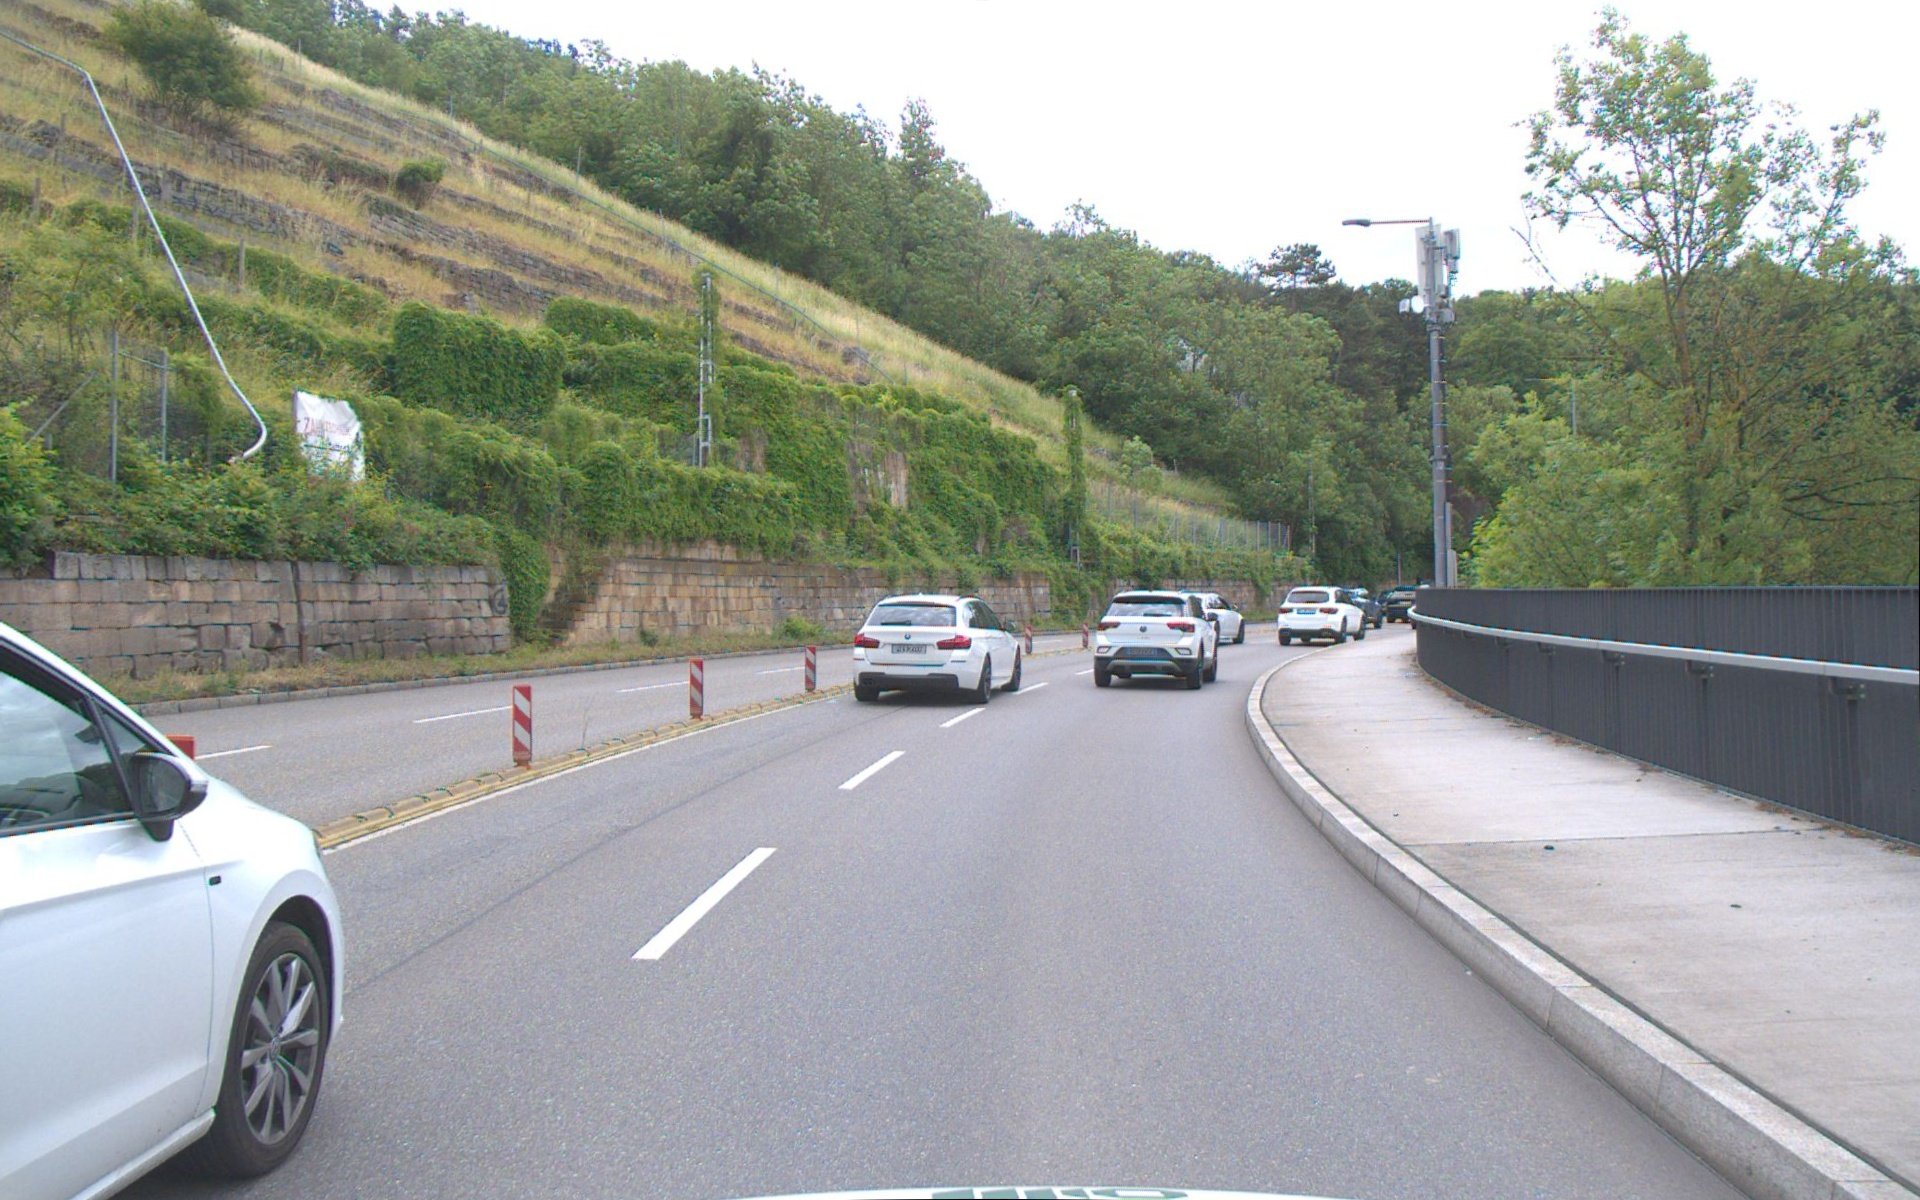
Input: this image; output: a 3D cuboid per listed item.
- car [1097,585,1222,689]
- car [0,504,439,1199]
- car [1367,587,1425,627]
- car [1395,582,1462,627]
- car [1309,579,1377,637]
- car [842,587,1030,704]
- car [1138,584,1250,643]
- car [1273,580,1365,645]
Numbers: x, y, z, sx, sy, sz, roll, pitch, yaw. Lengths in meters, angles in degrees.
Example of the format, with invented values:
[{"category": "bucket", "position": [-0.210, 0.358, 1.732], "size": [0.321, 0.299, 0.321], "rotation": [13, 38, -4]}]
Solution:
[{"category": "car", "position": [3.461, 0.567, 28.125], "size": [1.789, 1.634, 4.004], "rotation": [0, 0, 12]}, {"category": "car", "position": [-2.484, 0.635, 2.889], "size": [1.784, 1.608, 4.355], "rotation": [1, 0, -1]}, {"category": "car", "position": [19.628, 0.296, 74.378], "size": [1.953, 1.747, 3.999], "rotation": [0, 0, 23]}, {"category": "car", "position": [18.669, 0.180, 65.779], "size": [1.954, 1.747, 3.997], "rotation": [0, 0, 25]}, {"category": "car", "position": [14.906, 0.303, 64.196], "size": [1.952, 2.049, 4.000], "rotation": [-3, -1, 20]}, {"category": "car", "position": [-0.228, 0.625, 23.910], "size": [1.789, 1.485, 4.489], "rotation": [1, -1, 11]}, {"category": "car", "position": [6.713, 0.371, 47.020], "size": [1.953, 1.529, 4.665], "rotation": [-3, -1, 23]}, {"category": "car", "position": [10.397, 0.329, 47.672], "size": [1.953, 1.748, 4.114], "rotation": [1, 0, 21]}]
